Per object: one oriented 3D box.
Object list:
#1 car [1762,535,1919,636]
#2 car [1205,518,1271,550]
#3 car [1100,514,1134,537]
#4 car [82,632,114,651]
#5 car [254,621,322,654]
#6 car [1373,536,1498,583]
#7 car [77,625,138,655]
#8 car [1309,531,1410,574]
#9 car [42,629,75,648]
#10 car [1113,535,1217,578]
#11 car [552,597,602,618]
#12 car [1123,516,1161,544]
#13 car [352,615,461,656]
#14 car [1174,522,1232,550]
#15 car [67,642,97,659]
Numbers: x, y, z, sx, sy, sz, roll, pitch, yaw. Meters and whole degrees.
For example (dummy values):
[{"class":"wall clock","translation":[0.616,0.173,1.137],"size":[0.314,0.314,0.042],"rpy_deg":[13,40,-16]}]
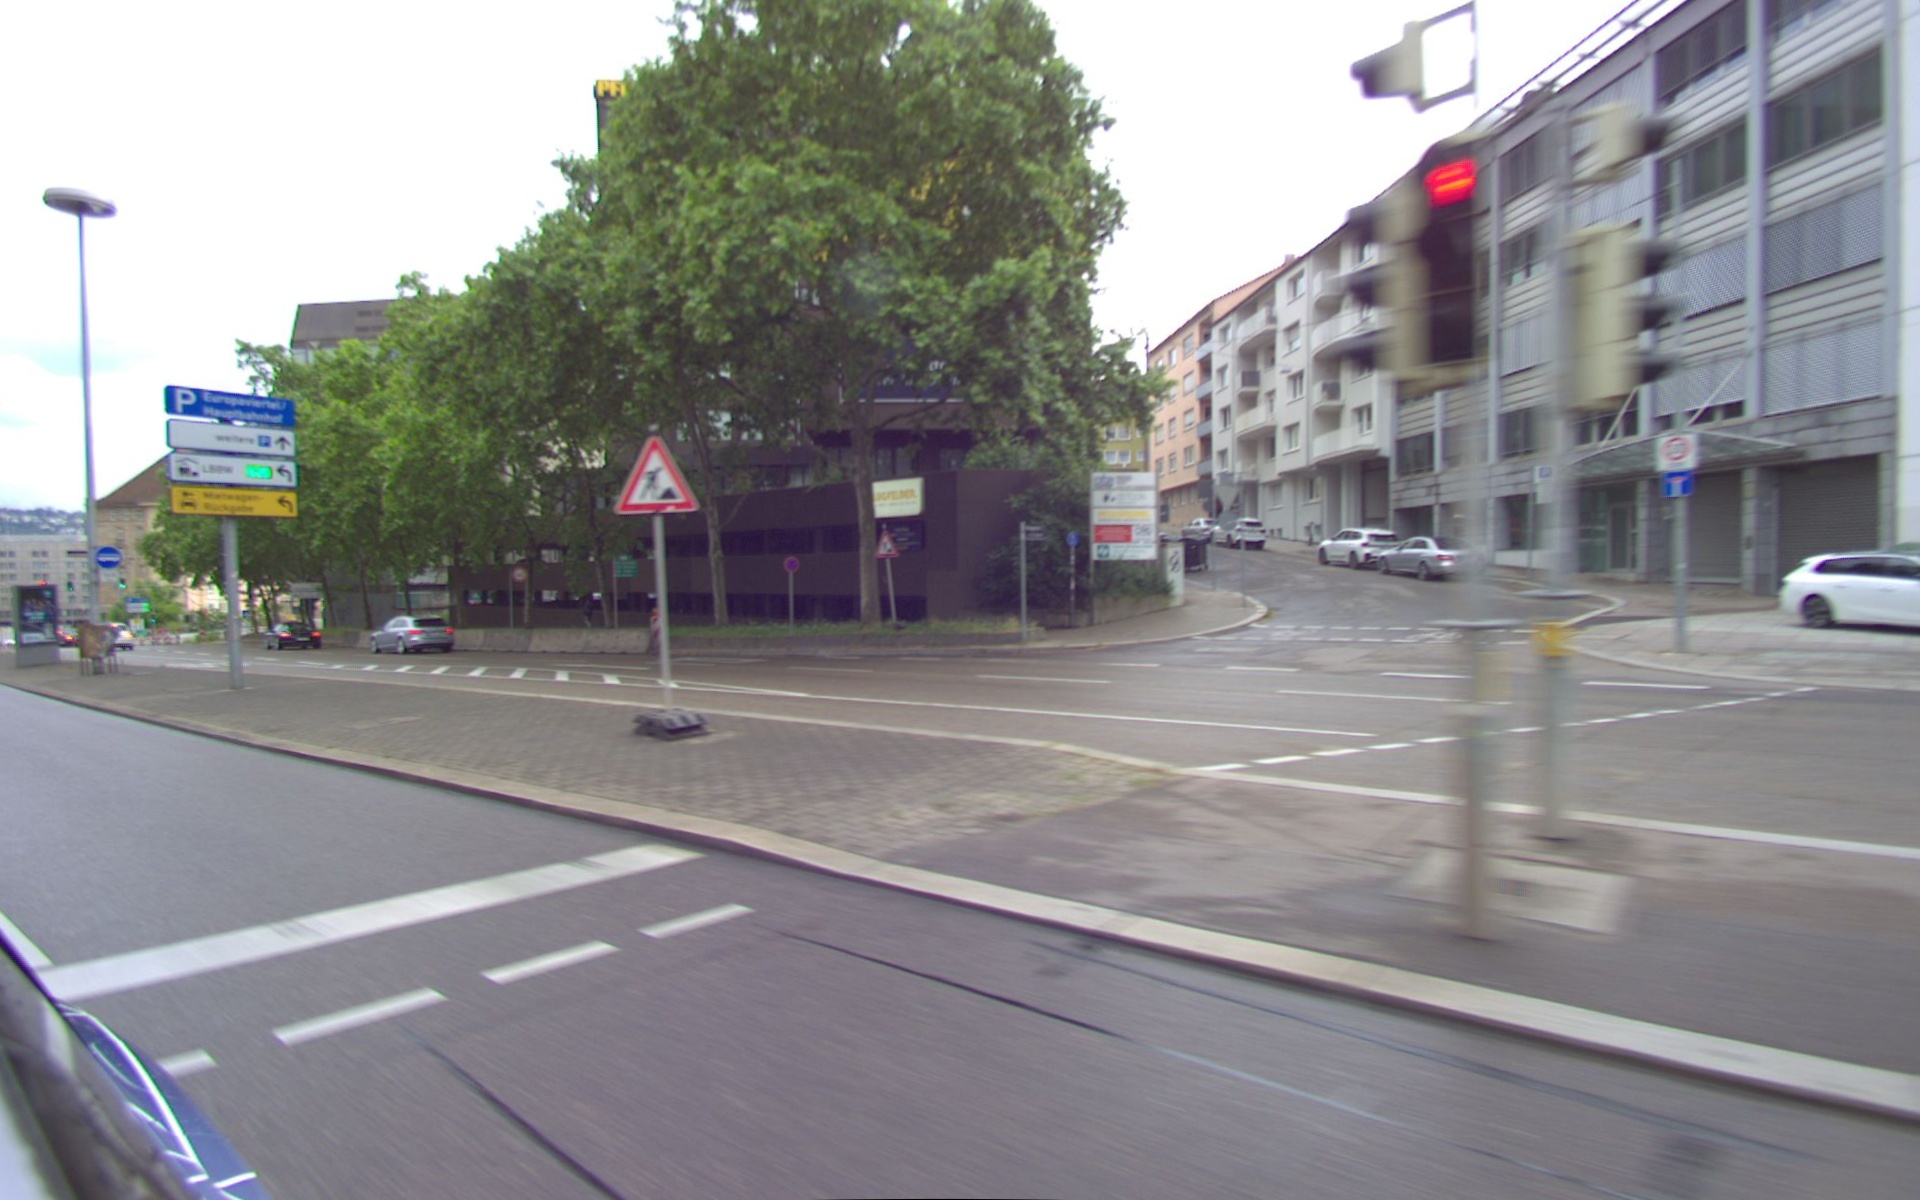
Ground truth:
[{"class":"car","translation":[17.260,-0.292,17.838],"size":[1.969,1.665,4.853],"rpy_deg":[-3,3,-8]},{"class":"car","translation":[15.162,-3.594,55.515],"size":[1.970,1.586,4.494],"rpy_deg":[-3,3,-5]},{"class":"car","translation":[13.265,-6.312,85.839],"size":[1.970,1.829,4.004],"rpy_deg":[-2,3,-3]},{"class":"car","translation":[-71.650,3.467,84.079],"size":[1.910,1.511,4.177],"rpy_deg":[0,-2,-43]},{"class":"car","translation":[-32.556,1.802,48.996],"size":[4.168,1.530,1.735],"rpy_deg":[-2,-1,41]},{"class":"car","translation":[16.728,-1.459,35.865],"size":[1.970,1.476,4.494],"rpy_deg":[-3,3,-5]},{"class":"car","translation":[-46.508,2.164,55.189],"size":[3.734,1.530,1.738],"rpy_deg":[-2,-1,37]},{"class":"car","translation":[16.284,-1.939,41.541],"size":[1.970,1.586,4.494],"rpy_deg":[-3,3,-5]},{"class":"car","translation":[-75.022,3.209,84.212],"size":[3.865,1.497,1.774],"rpy_deg":[-2,0,44]},{"class":"car","translation":[8.704,-1.832,43.105],"size":[3.941,1.696,1.822],"rpy_deg":[-1,1,-3]},{"class":"car","translation":[-33.012,0.642,87.212],"size":[3.931,1.730,2.006],"rpy_deg":[-2,-1,-21]},{"class":"car","translation":[13.671,-5.283,76.183],"size":[1.971,2.028,4.004],"rpy_deg":[-1,4,-3]},{"class":"car","translation":[-21.372,1.343,38.994],"size":[4.875,1.458,1.974],"rpy_deg":[-2,-1,39]},{"class":"car","translation":[14.720,-3.864,61.557],"size":[1.970,1.586,4.494],"rpy_deg":[-3,3,-5]},{"class":"car","translation":[-82.826,4.748,95.433],"size":[1.911,1.447,4.079],"rpy_deg":[0,-2,-44]}]
